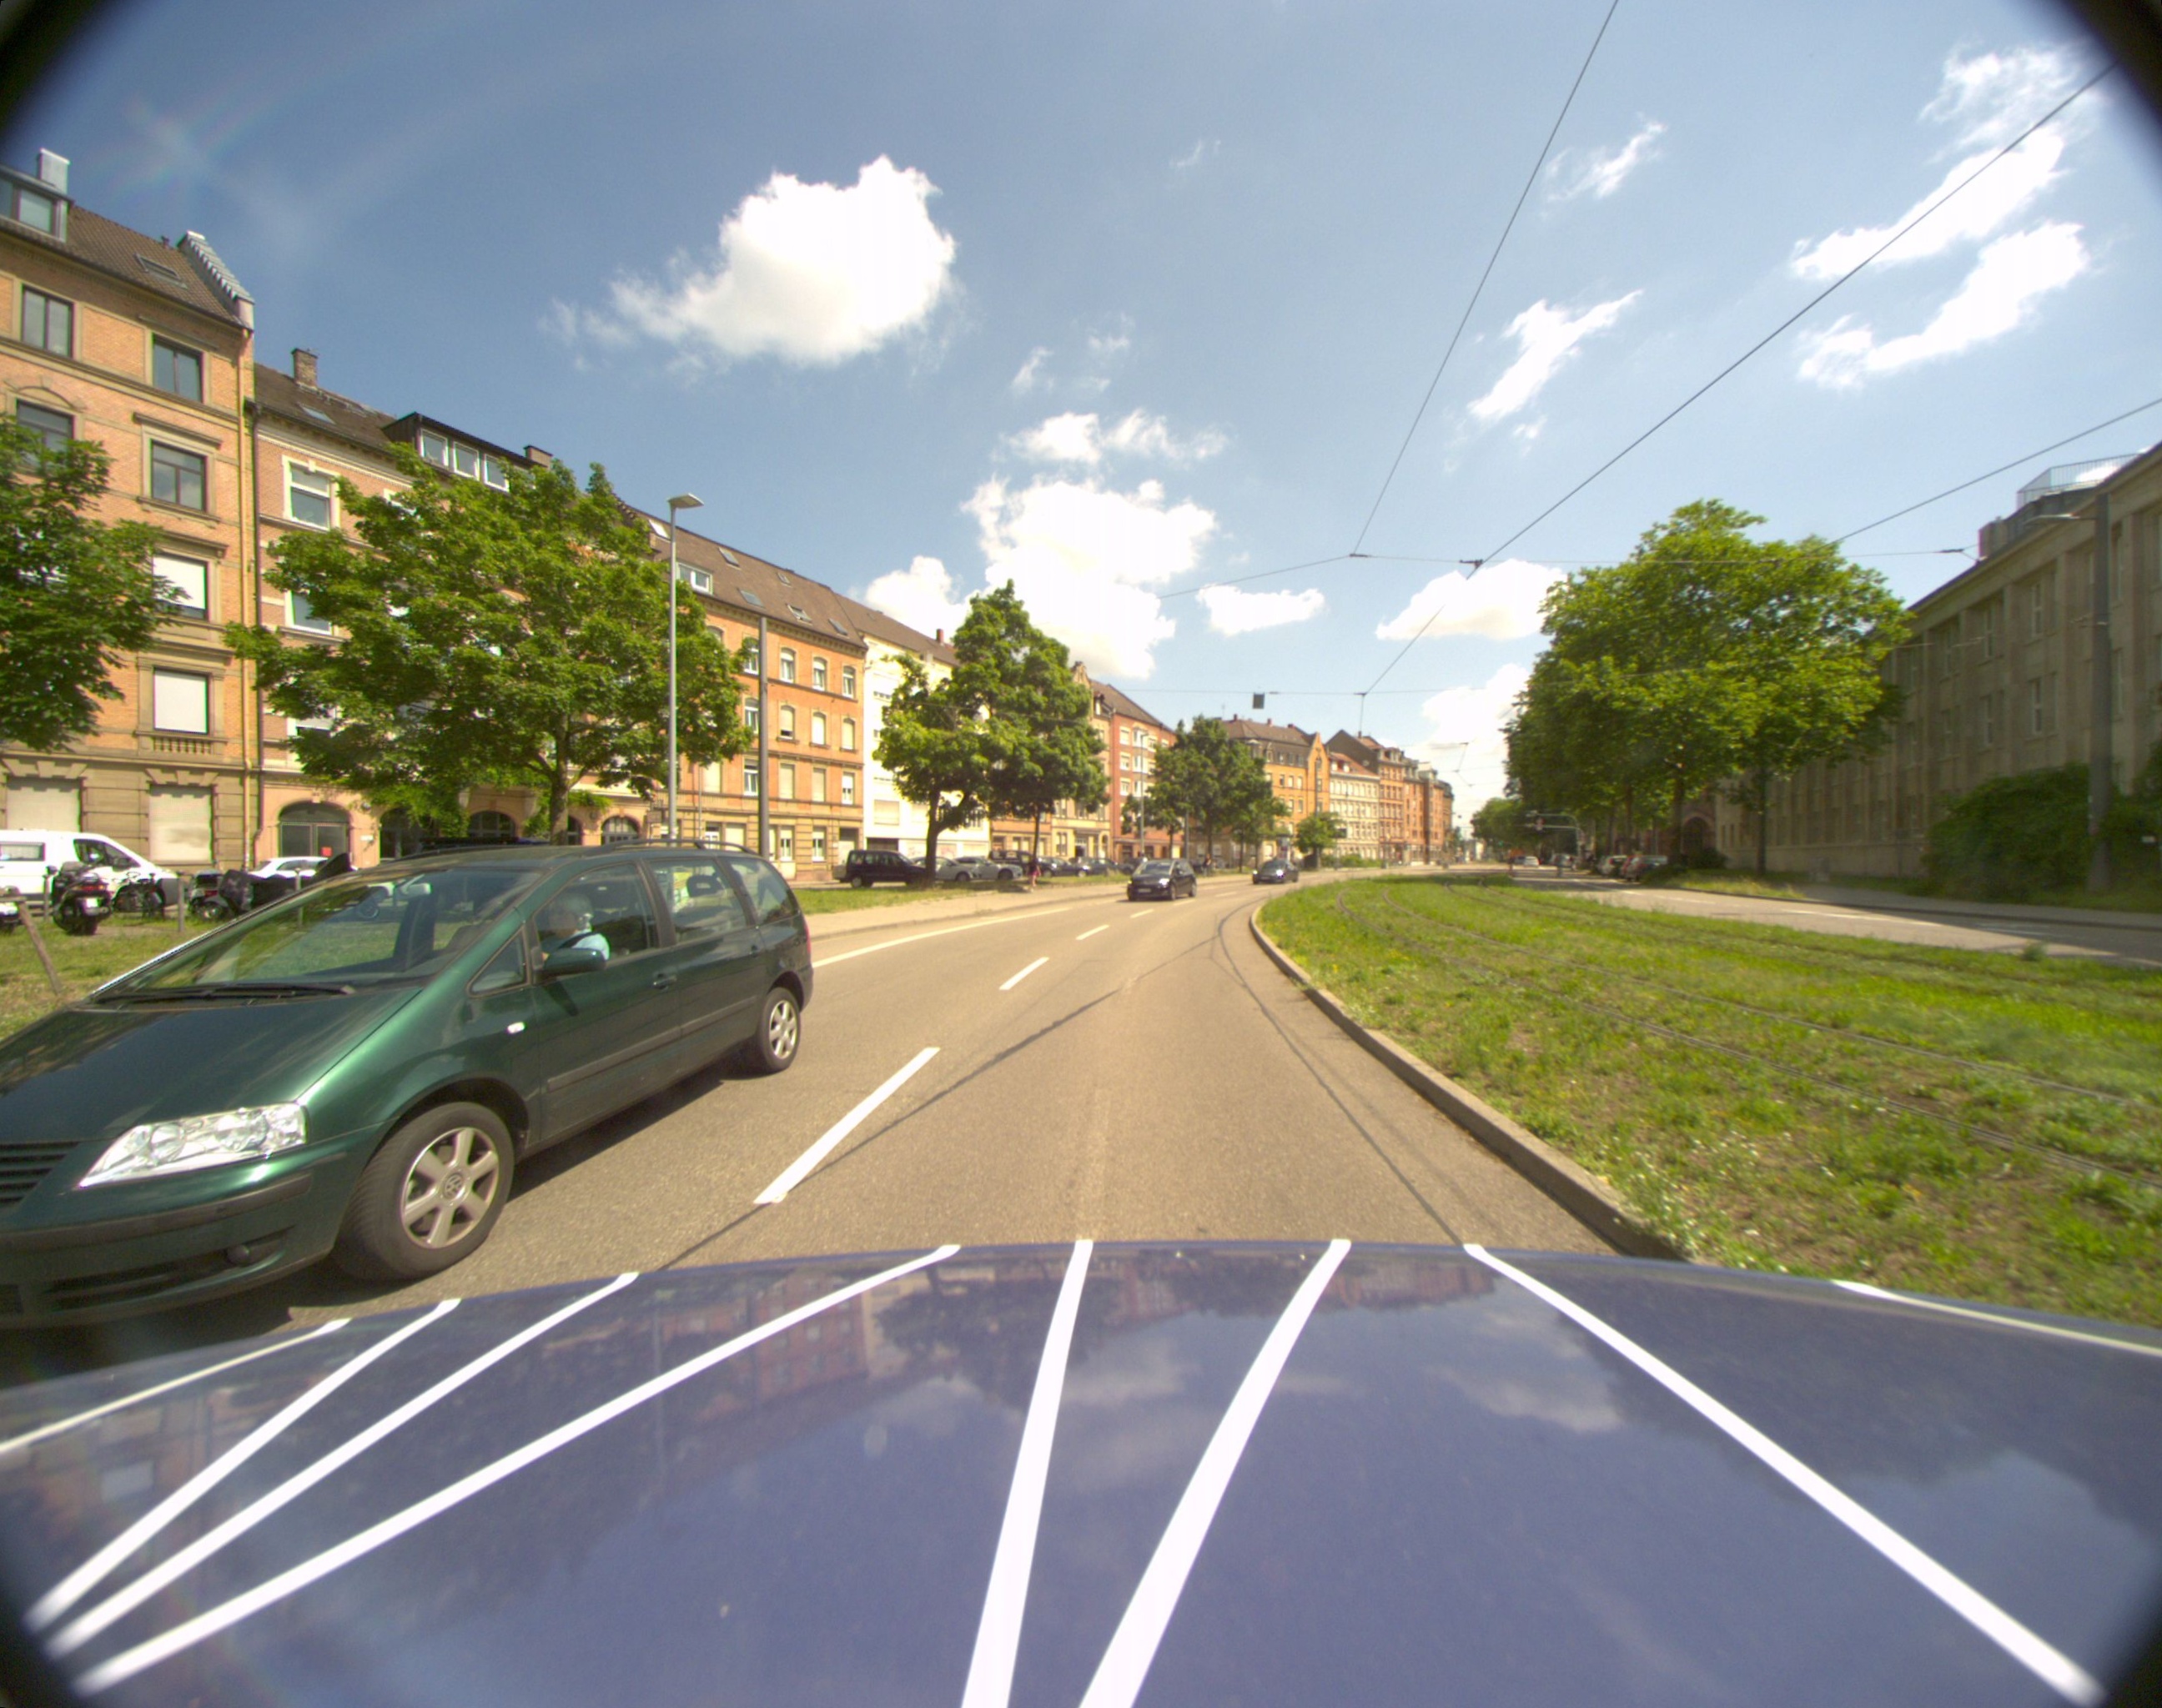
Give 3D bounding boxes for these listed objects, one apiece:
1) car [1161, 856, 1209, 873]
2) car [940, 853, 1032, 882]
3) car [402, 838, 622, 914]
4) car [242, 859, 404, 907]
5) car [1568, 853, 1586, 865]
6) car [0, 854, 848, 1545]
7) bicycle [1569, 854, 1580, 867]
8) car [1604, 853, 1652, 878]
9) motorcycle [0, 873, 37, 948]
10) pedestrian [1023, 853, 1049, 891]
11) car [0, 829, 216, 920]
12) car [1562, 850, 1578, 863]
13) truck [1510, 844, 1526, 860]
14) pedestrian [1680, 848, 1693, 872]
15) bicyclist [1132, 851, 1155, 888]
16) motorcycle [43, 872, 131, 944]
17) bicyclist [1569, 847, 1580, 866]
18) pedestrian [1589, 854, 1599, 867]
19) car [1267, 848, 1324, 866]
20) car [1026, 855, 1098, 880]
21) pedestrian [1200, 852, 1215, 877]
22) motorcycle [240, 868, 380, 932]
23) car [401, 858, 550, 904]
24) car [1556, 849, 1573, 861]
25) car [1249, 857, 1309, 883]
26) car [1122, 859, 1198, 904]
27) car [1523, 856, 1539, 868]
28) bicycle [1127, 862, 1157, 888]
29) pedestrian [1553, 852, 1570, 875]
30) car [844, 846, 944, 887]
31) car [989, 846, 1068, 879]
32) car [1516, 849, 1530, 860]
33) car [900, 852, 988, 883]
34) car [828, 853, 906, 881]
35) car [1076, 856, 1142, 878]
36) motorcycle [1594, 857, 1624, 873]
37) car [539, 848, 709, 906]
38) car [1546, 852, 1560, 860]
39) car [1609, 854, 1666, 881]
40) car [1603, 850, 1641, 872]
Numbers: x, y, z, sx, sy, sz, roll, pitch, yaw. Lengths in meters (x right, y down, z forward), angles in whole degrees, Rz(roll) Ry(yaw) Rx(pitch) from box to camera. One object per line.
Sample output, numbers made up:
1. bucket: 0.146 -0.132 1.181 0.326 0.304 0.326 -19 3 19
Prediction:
1. car: 8.827 0.894 64.623 3.994 1.346 1.963 -2 0 8
2. car: -4.987 0.684 40.385 4.691 1.372 1.852 -2 0 -4
3. car: -15.771 0.588 21.242 4.627 1.916 1.916 -2 0 -1
4. car: -23.907 0.860 24.083 1.564 1.395 3.357 0 0 33
5. car: 65.455 0.672 100.269 1.758 1.488 4.008 -2 0 31
6. car: -3.276 0.904 4.502 1.822 1.746 5.033 -2 0 5
7. bicycle: 45.270 0.579 69.704 0.791 1.103 2.281 -2 0 32
8. car: 33.067 0.699 46.035 1.927 1.411 4.058 -2 -1 30
9. motorcycle: -17.738 0.907 12.370 1.784 1.160 0.641 -1 0 29
10. pedestrian: -1.991 0.783 33.581 0.700 1.583 0.907 3 2 29
11. car: -26.338 0.517 19.302 2.112 2.166 5.404 -2 0 30
12. car: 73.186 0.311 113.732 1.758 1.825 4.008 -2 0 31
13. truck: 86.990 -0.457 151.280 2.640 3.088 7.236 2 1 30
14. pedestrian: 41.395 0.393 51.960 0.554 1.582 0.797 -1 0 29
15. bicyclist: 3.219 0.794 39.302 0.694 1.815 0.958 6 4 30
16. motorcycle: -17.273 0.900 13.197 1.784 1.160 0.641 -1 0 29
17. bicyclist: 45.186 0.239 69.554 0.762 1.694 0.785 -2 0 31
18. pedestrian: 51.465 0.626 76.232 0.756 1.204 0.915 -6 -2 32
19. car: 28.104 0.398 99.461 6.964 2.360 2.266 -1 0 22
20. car: -1.220 0.821 47.159 4.268 1.372 1.851 -2 0 -6
21. pedestrian: 8.645 0.715 51.800 0.700 1.695 1.046 1 3 29
22. motorcycle: -15.309 0.874 15.129 0.638 1.160 1.910 0 0 42
23. car: -21.925 0.932 27.672 1.660 1.483 3.861 -2 0 30
24. car: 83.286 0.132 130.922 1.989 1.992 4.093 -2 0 28
25. car: 11.964 0.937 45.760 1.911 1.385 4.322 -2 0 38
26. car: 3.239 1.030 30.346 1.872 1.610 4.196 -1 0 23
27. car: 60.552 1.067 102.256 1.761 1.471 3.795 2 1 29
28. bicycle: 3.167 1.086 39.259 0.694 1.236 1.843 6 4 30
29. pedestrian: 35.696 0.712 56.488 0.783 1.694 0.702 -2 0 -7
30. car: -8.598 0.562 35.162 4.147 1.730 1.852 -2 0 0
31. car: -3.042 0.493 43.659 4.365 1.730 1.851 -2 0 -6
32. car: 76.924 0.047 132.163 1.921 1.736 4.546 2 2 29
33. car: -6.720 0.645 37.685 4.084 1.397 1.851 -2 0 -5
34. car: -12.410 0.750 44.365 1.833 1.483 4.235 -2 0 30
35. car: 1.913 0.873 52.725 4.268 1.372 1.851 -2 0 -6
36. motorcycle: 43.892 0.913 63.179 2.107 1.168 0.544 -3 -4 -8
37. car: -14.281 0.697 23.904 4.170 1.646 1.917 -2 0 3
38. car: 91.436 0.457 147.210 1.758 1.488 4.007 -2 0 24
39. car: 30.472 0.713 41.722 1.927 1.360 4.326 -2 -1 28
40. car: 38.929 0.522 54.726 1.748 1.445 3.498 -2 -1 28
